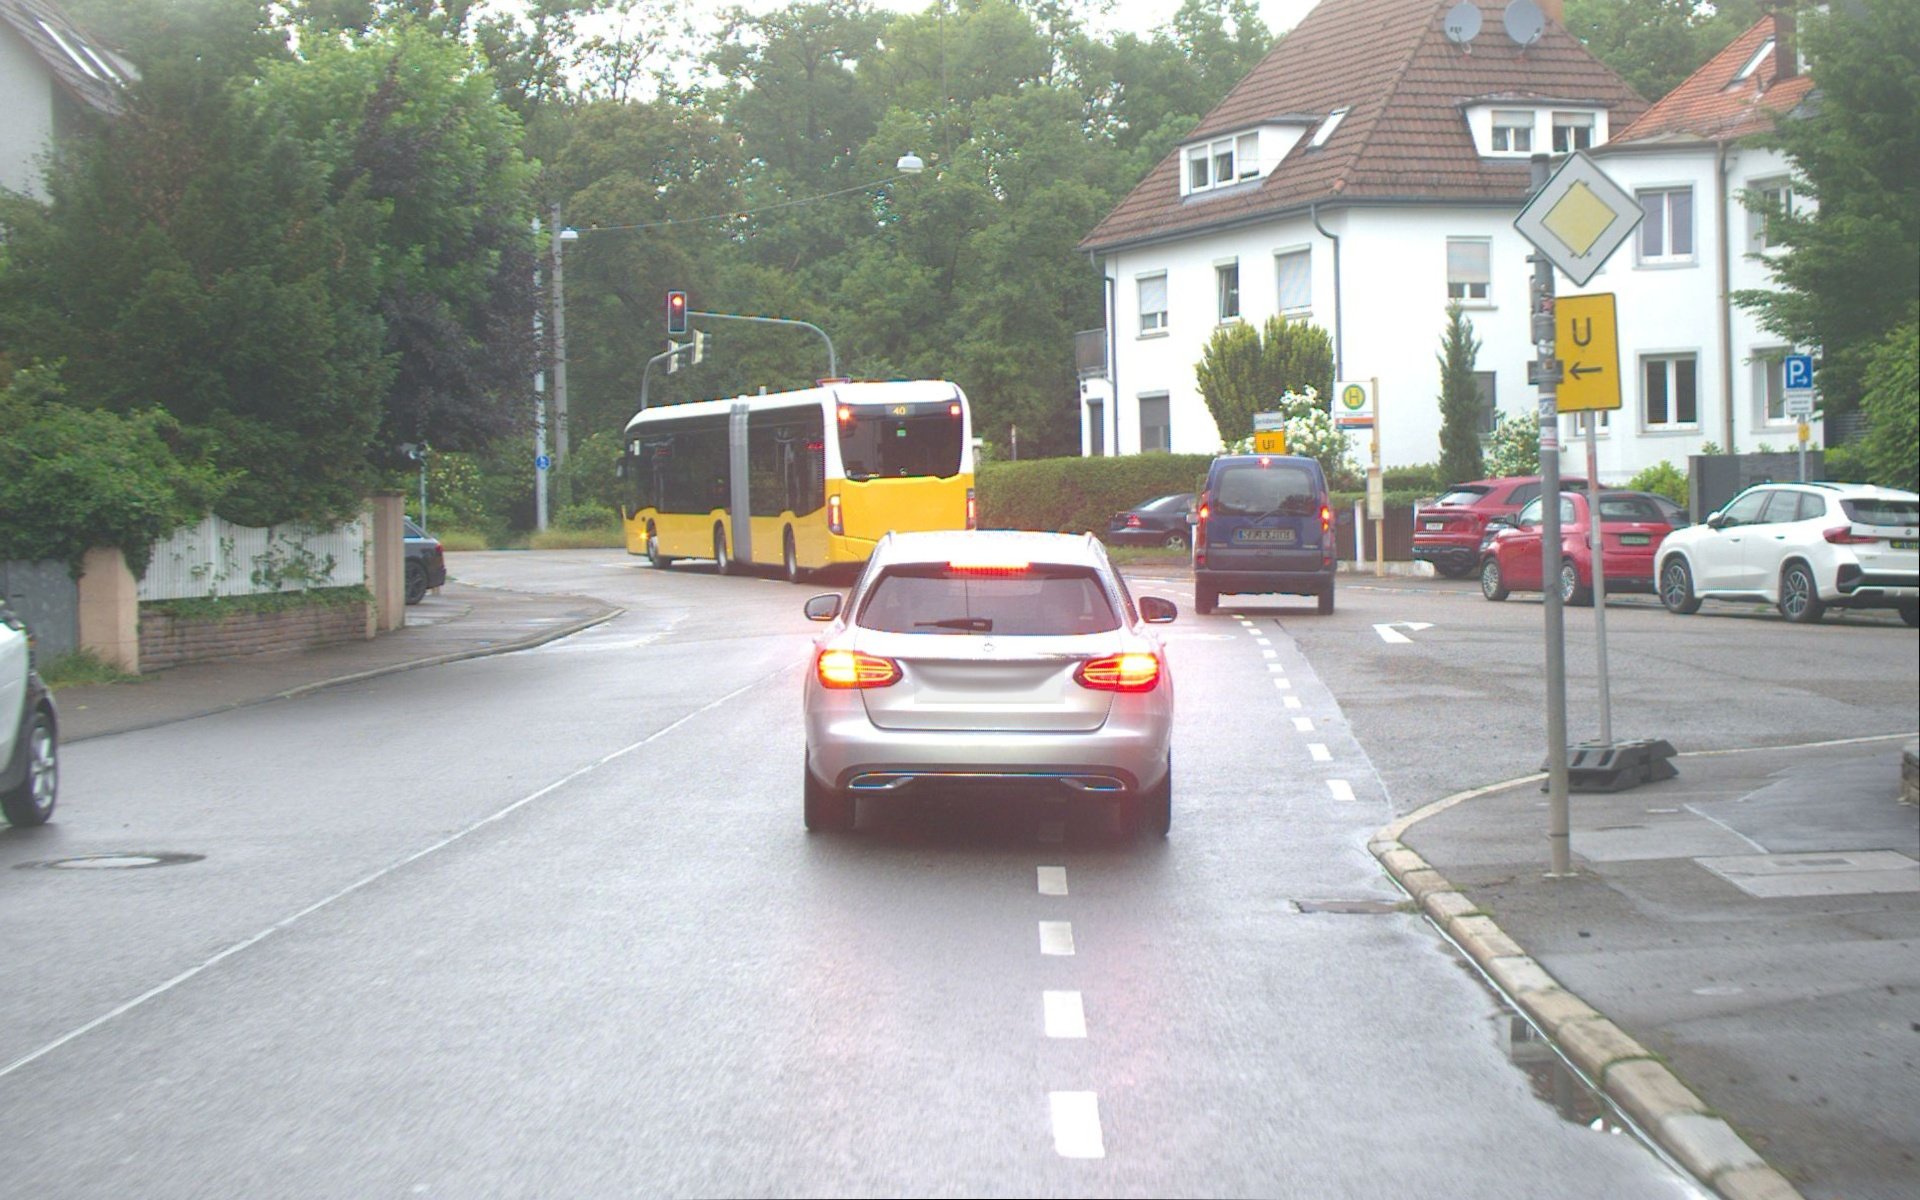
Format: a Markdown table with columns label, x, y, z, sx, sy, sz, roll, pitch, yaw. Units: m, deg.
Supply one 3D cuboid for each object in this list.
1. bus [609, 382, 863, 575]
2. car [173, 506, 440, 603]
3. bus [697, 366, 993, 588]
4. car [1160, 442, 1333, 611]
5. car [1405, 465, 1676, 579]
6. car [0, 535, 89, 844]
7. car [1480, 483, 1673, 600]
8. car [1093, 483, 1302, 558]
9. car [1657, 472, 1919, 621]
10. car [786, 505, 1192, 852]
| label | x | y | z | sx | sy | sz | roll | pitch | yaw |
| --- | --- | --- | --- | --- | --- | --- | --- | --- | --- |
| bus | -4.749 | -2.551 | 70.218 | 2.927 | 3.638 | 10.306 | 0 | 3 | -17 |
| car | -10.076 | -0.711 | 53.267 | 3.986 | 1.415 | 1.888 | 0 | 3 | -8 |
| bus | -2.258 | -2.277 | 61.613 | 2.927 | 3.638 | 10.172 | 0 | 3 | -16 |
| car | 3.347 | -0.844 | 40.752 | 1.843 | 1.897 | 4.000 | 0 | 0 | 2 |
| car | 9.507 | -1.292 | 56.425 | 3.986 | 1.787 | 1.759 | 0 | 3 | -9 |
| car | -5.495 | 0.450 | 16.633 | 1.713 | 1.442 | 3.255 | 1 | 3 | 1 |
| car | 8.151 | -0.795 | 45.677 | 1.205 | 1.446 | 3.023 | 0 | 3 | -18 |
| car | 4.994 | -1.679 | 72.353 | 3.986 | 1.525 | 1.760 | 0 | 3 | -18 |
| car | 10.052 | -0.671 | 40.501 | 1.806 | 1.603 | 4.066 | 0 | 3 | -18 |
| car | 0.087 | 0.317 | 17.568 | 1.816 | 1.551 | 4.000 | 1 | 1 | -1 |
